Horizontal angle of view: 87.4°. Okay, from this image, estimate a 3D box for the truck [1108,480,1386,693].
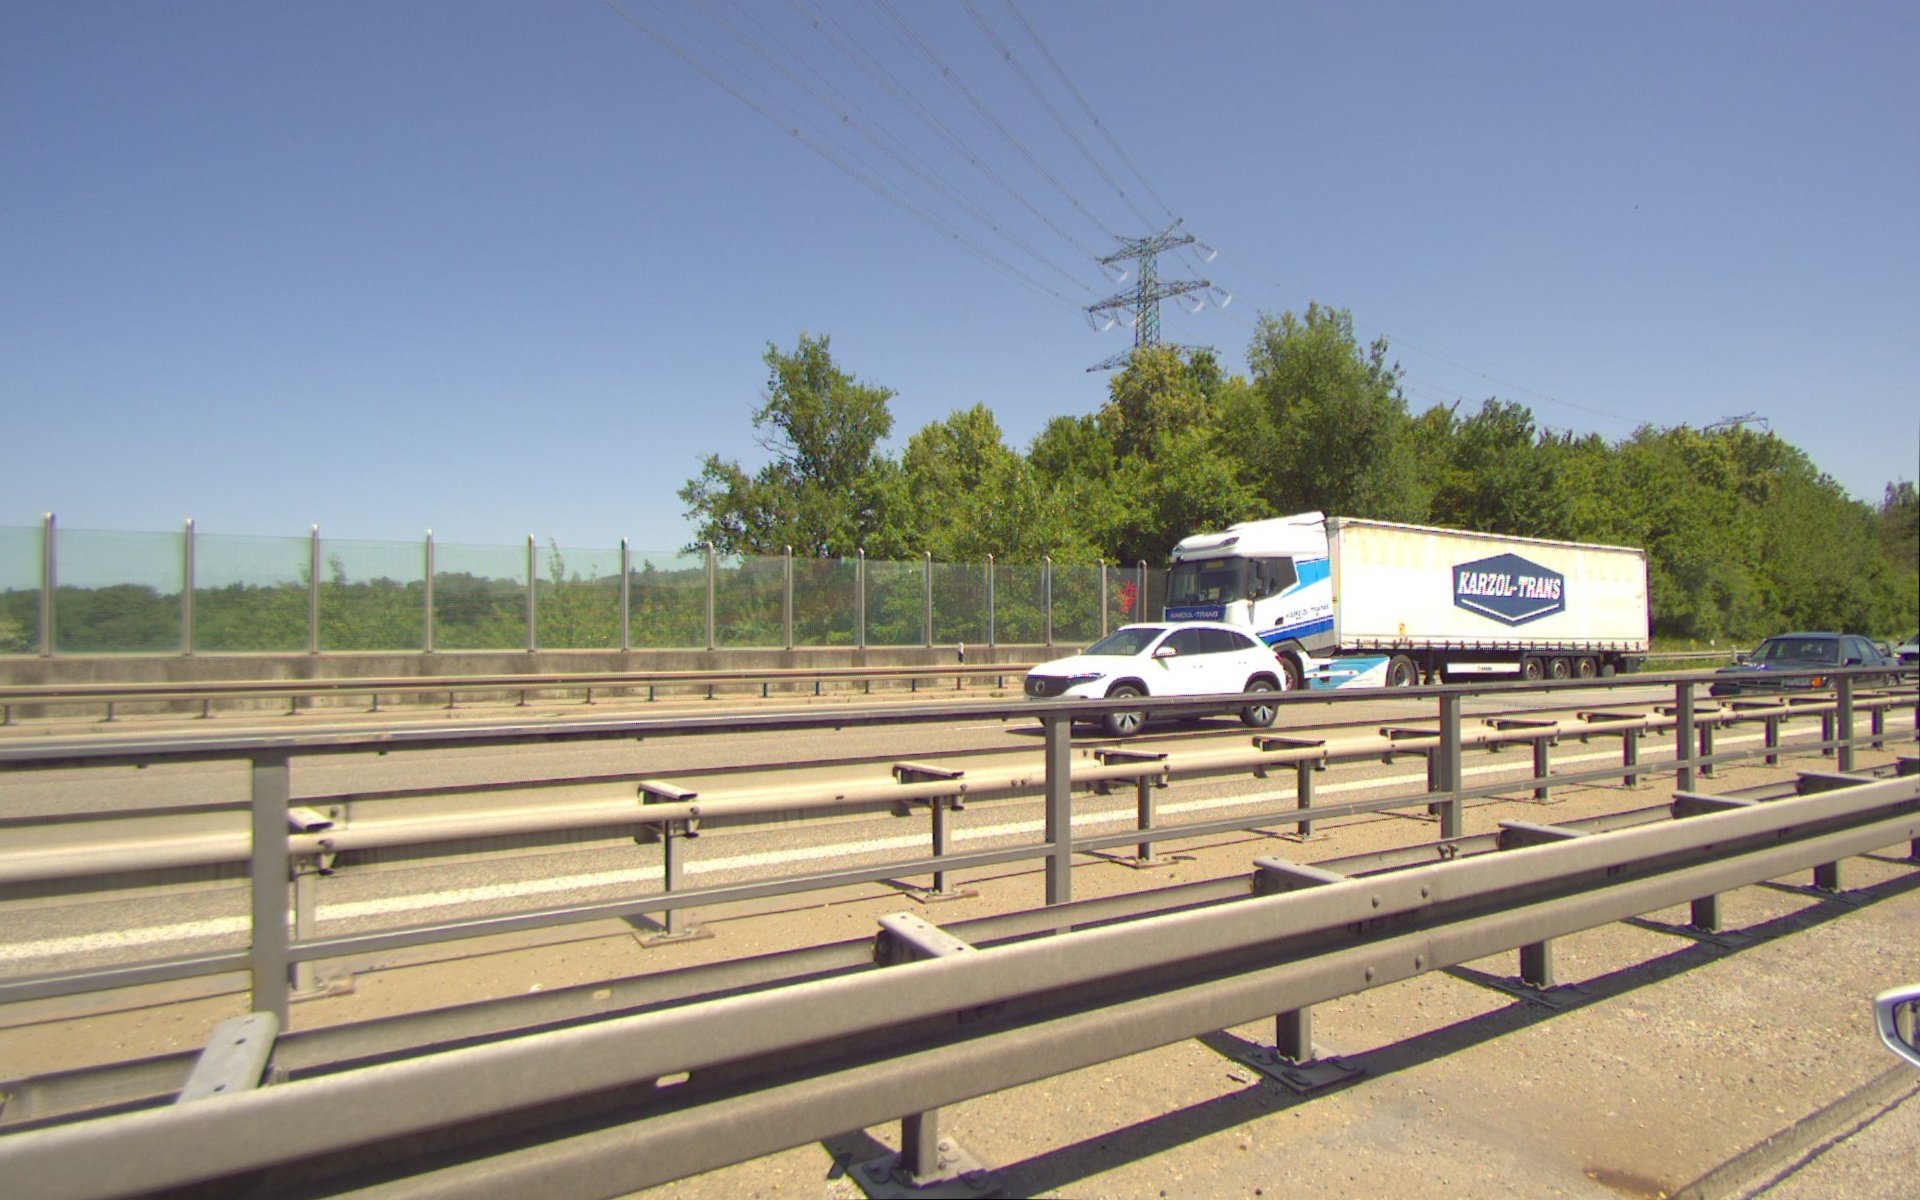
[{"bbox_3d":[6.542,-0.129,23.153,4.803,4.283,3.987,2,-3,-31],"label":"truck"}]

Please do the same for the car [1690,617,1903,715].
[{"bbox_3d":[15.554,1.184,18.652,3.953,1.593,1.783,2,0,-30],"label":"car"}]

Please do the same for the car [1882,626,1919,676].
[{"bbox_3d":[33.586,1.736,34.283,4.575,1.646,1.862,2,-3,-30],"label":"car"}]

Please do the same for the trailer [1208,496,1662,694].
[{"bbox_3d":[13.175,0.164,27.046,13.876,4.290,3.971,2,-3,-31],"label":"trailer"}]

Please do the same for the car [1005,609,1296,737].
[{"bbox_3d":[2.973,1.078,15.404,4.334,1.718,1.741,2,-3,-30],"label":"car"}]
